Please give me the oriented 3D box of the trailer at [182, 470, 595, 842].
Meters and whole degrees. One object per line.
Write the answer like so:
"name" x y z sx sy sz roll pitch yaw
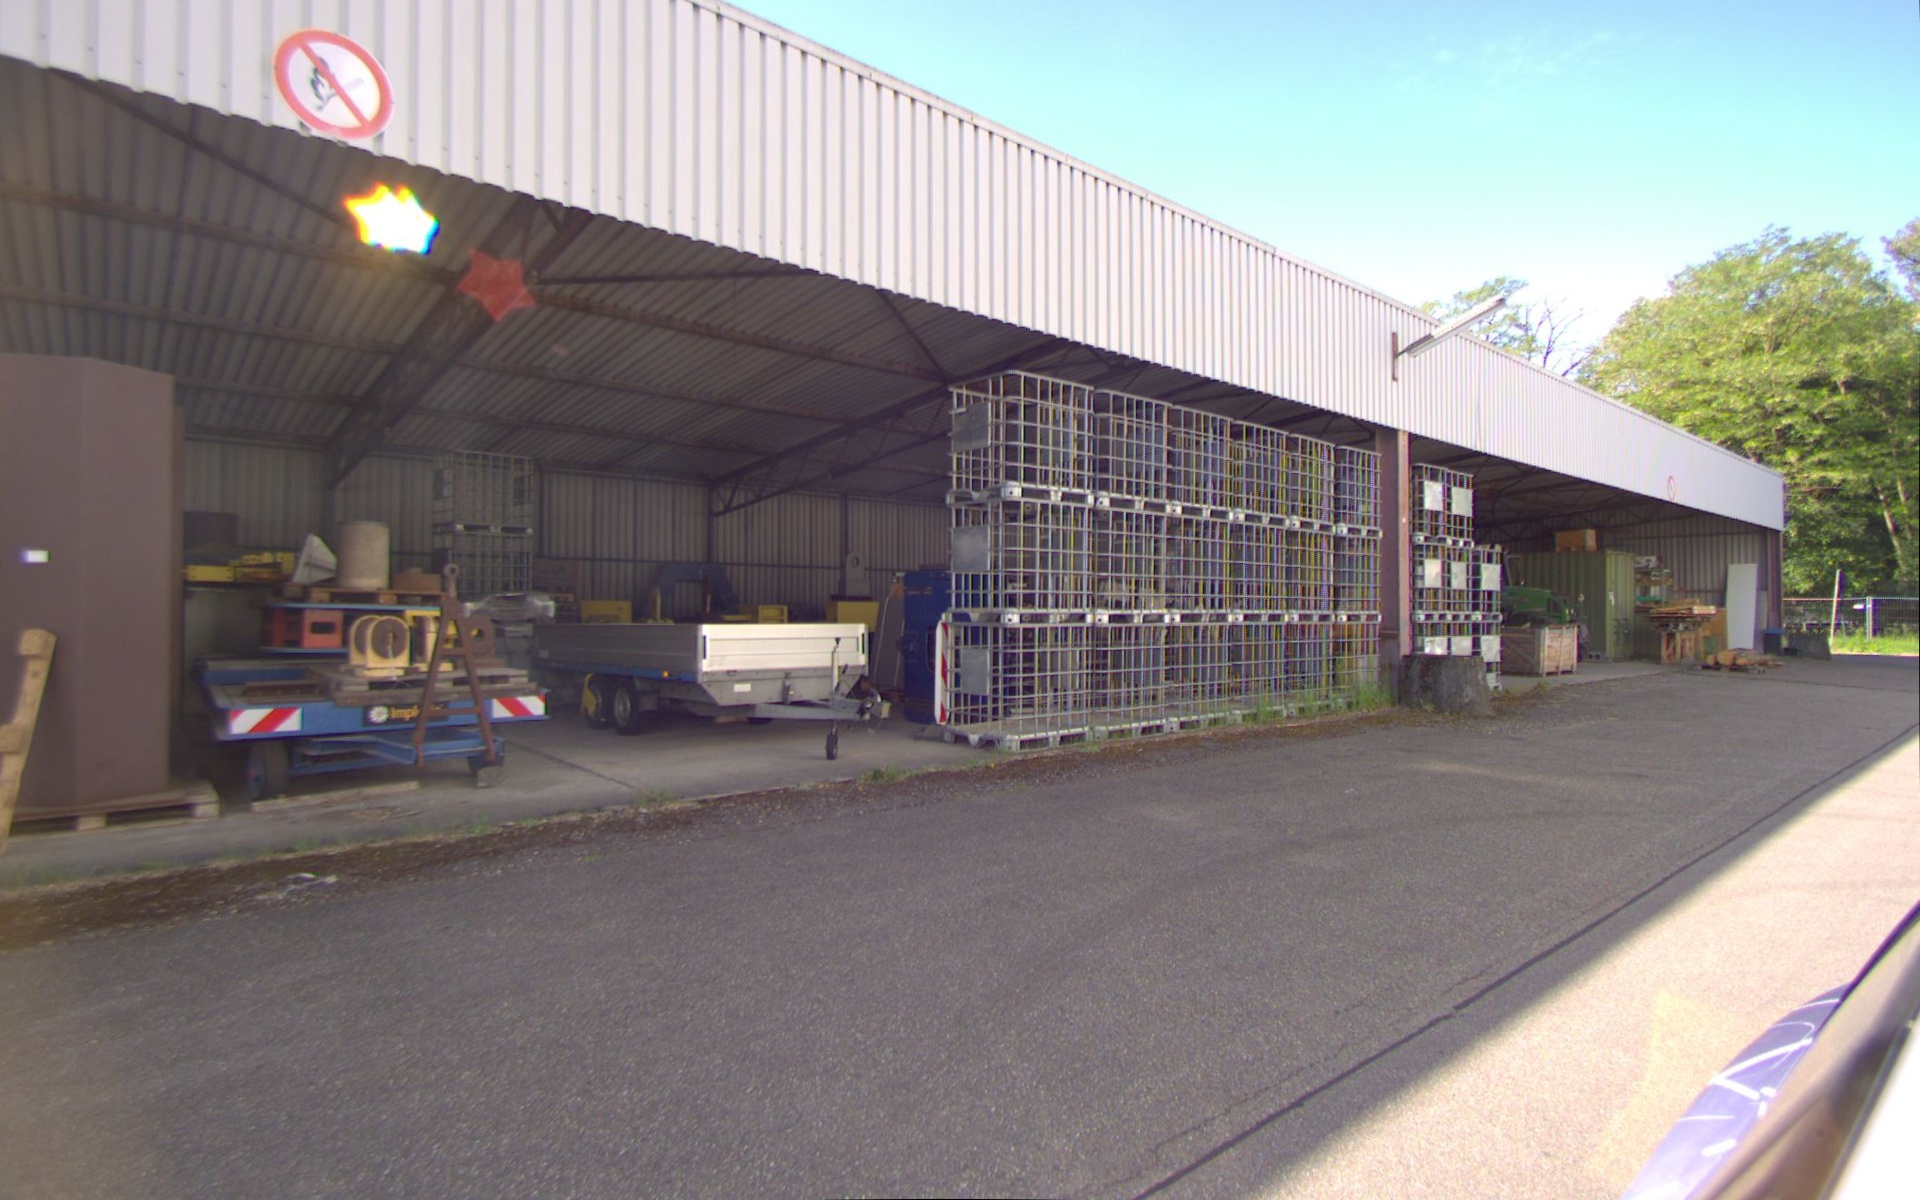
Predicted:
"trailer" -4.670 0.269 7.886 2.124 2.015 4.433 0 1 -39

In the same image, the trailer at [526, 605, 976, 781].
"trailer" -2.477 0.706 10.365 1.940 1.200 5.737 0 1 -41

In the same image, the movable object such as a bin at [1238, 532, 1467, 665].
"movable object such as a bin" 9.336 -0.030 24.333 2.452 2.867 4.535 1 -1 -40

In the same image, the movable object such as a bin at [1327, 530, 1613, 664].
"movable object such as a bin" 12.621 -0.057 25.429 2.770 2.962 5.845 1 -1 -40
